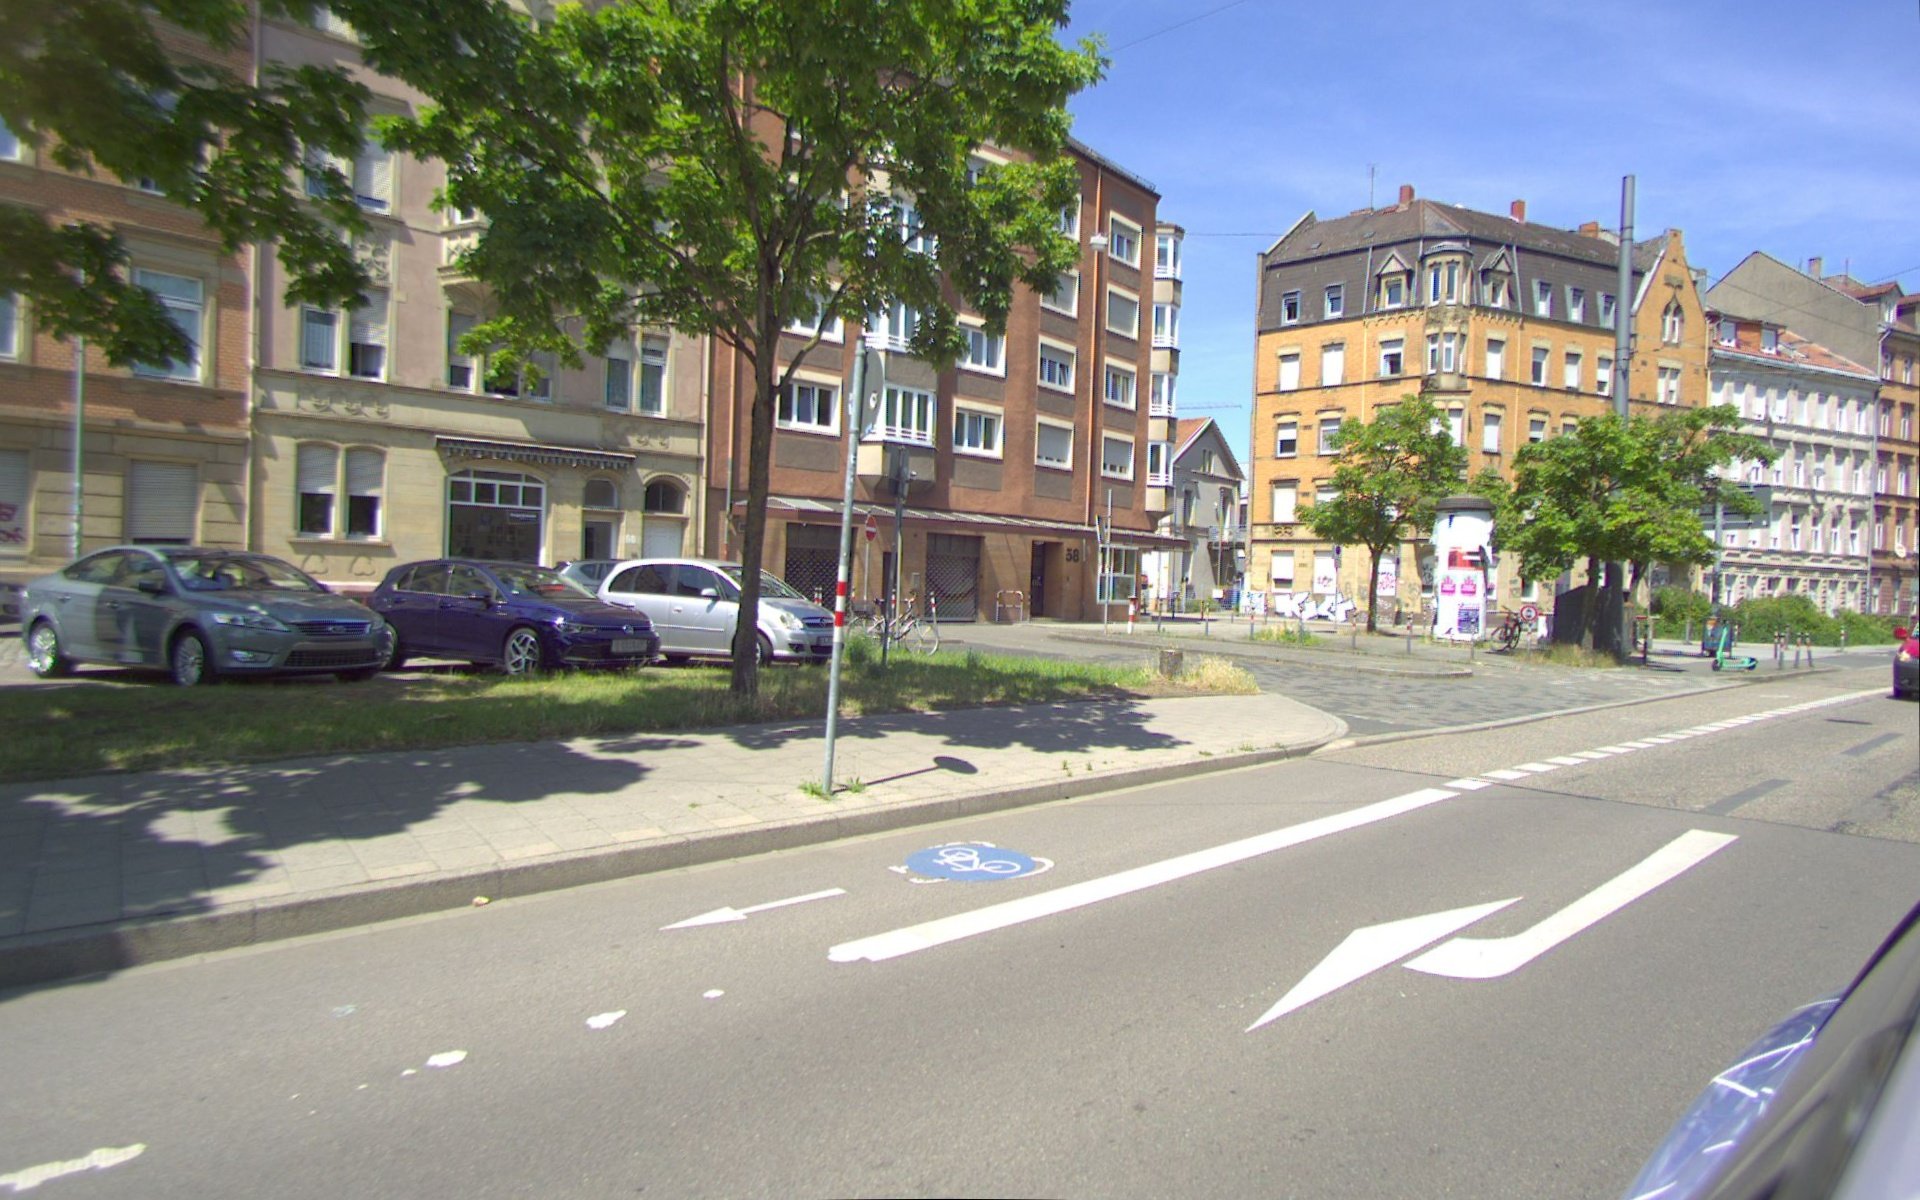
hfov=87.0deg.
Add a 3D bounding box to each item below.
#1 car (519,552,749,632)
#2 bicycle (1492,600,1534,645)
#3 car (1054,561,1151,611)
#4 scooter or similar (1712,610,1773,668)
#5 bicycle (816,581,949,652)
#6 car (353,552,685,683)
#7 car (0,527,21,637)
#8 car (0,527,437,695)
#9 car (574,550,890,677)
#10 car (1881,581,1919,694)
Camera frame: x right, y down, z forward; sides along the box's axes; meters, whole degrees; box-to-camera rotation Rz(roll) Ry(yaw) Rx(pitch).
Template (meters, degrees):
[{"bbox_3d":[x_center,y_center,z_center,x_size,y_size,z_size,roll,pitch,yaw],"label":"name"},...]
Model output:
[{"bbox_3d":[-7.233,-0.145,22.588,4.510,1.620,2.001,1,0,-34],"label":"car"},{"bbox_3d":[14.670,0.588,26.828,1.680,1.167,0.486,1,0,-44],"label":"bicycle"},{"bbox_3d":[7.868,-0.810,56.421,5.203,2.655,1.968,1,0,45],"label":"car"},{"bbox_3d":[17.688,0.881,22.882,1.154,1.228,0.393,4,3,-17],"label":"scooter or similar"},{"bbox_3d":[-1.404,0.290,18.127,2.312,1.208,0.742,1,0,-9],"label":"bicycle"},{"bbox_3d":[-5.569,0.155,12.721,3.964,1.417,1.805,1,0,29],"label":"car"},{"bbox_3d":[-16.798,-0.309,15.156,3.931,1.705,1.821,1,0,-42],"label":"car"},{"bbox_3d":[-8.111,0.056,11.022,4.586,1.516,1.948,1,0,26],"label":"car"},{"bbox_3d":[-3.415,0.131,15.044,4.372,1.652,1.980,1,0,28],"label":"car"},{"bbox_3d":[18.156,0.655,17.899,5.070,1.857,1.860,1,0,-37],"label":"car"}]
